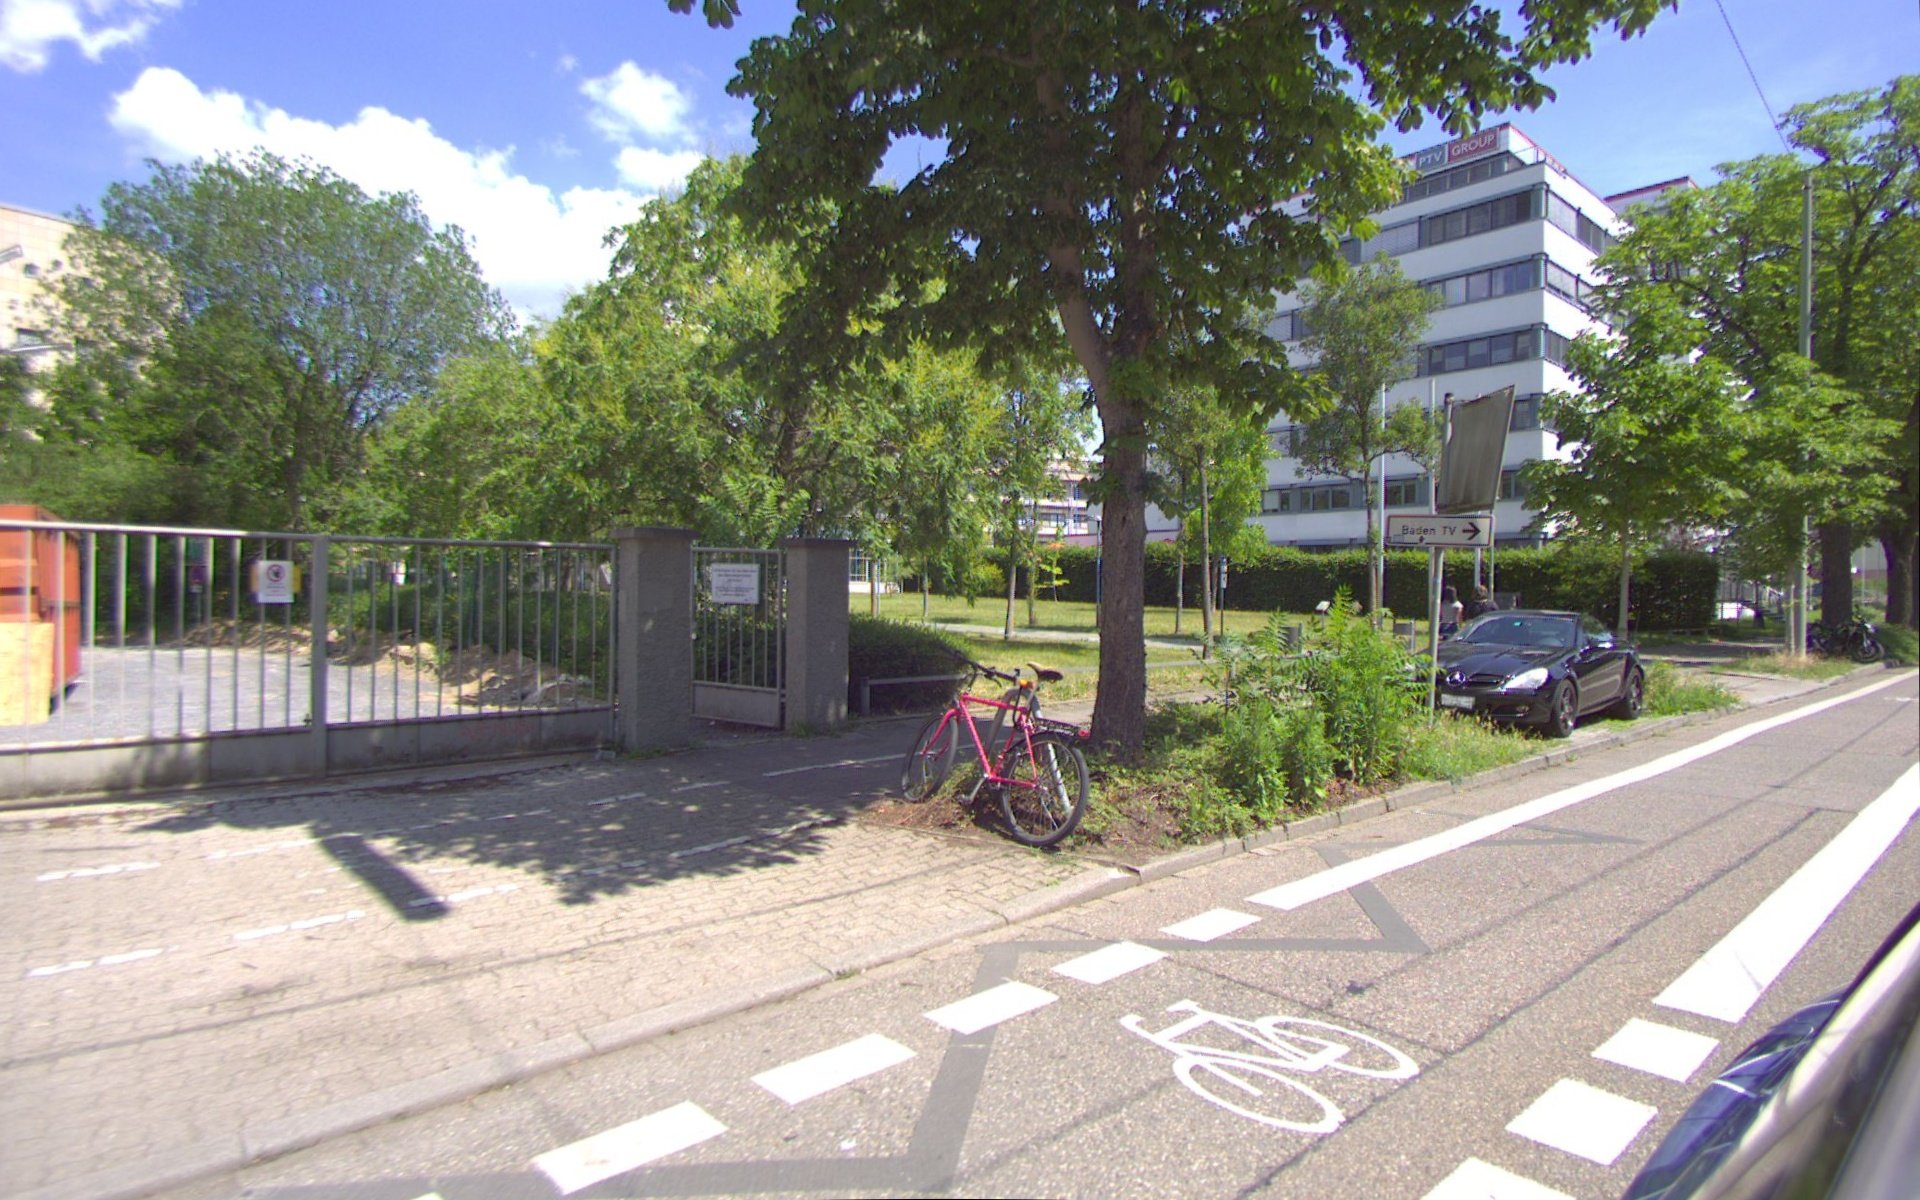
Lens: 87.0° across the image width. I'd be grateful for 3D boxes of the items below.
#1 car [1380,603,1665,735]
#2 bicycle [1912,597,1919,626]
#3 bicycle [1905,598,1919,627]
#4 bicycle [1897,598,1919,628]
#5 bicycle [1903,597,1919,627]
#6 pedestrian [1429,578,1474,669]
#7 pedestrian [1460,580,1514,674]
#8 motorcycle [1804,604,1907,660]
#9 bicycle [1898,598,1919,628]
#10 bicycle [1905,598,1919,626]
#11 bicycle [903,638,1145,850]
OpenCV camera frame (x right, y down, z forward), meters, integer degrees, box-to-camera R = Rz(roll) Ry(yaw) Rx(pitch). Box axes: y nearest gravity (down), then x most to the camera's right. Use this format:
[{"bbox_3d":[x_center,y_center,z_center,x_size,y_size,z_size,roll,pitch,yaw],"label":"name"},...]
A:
[{"bbox_3d":[6.732,0.692,11.967,3.766,1.287,1.754,0,0,-41],"label":"car"},{"bbox_3d":[39.191,0.481,40.333,0.506,1.125,1.809,0,2,-43],"label":"bicycle"},{"bbox_3d":[38.214,0.497,39.553,1.806,1.125,0.525,2,1,41],"label":"bicycle"},{"bbox_3d":[36.465,0.496,38.028,0.442,1.125,1.810,0,1,-43],"label":"bicycle"},{"bbox_3d":[37.731,0.490,39.124,1.803,1.125,0.484,2,1,36],"label":"bicycle"},{"bbox_3d":[8.828,0.416,18.190,0.535,1.593,0.514,0,2,-40],"label":"pedestrian"},{"bbox_3d":[9.196,0.449,17.656,0.600,1.593,0.620,0,2,-40],"label":"pedestrian"},{"bbox_3d":[21.524,0.733,24.375,0.601,1.228,2.063,-1,1,-2],"label":"motorcycle"},{"bbox_3d":[36.775,0.495,38.317,0.388,1.125,1.810,0,1,-43],"label":"bicycle"},{"bbox_3d":[38.624,0.491,40.010,1.806,1.125,0.528,2,1,41],"label":"bicycle"},{"bbox_3d":[0.352,0.820,6.333,0.552,1.073,1.588,0,1,-41],"label":"bicycle"}]
